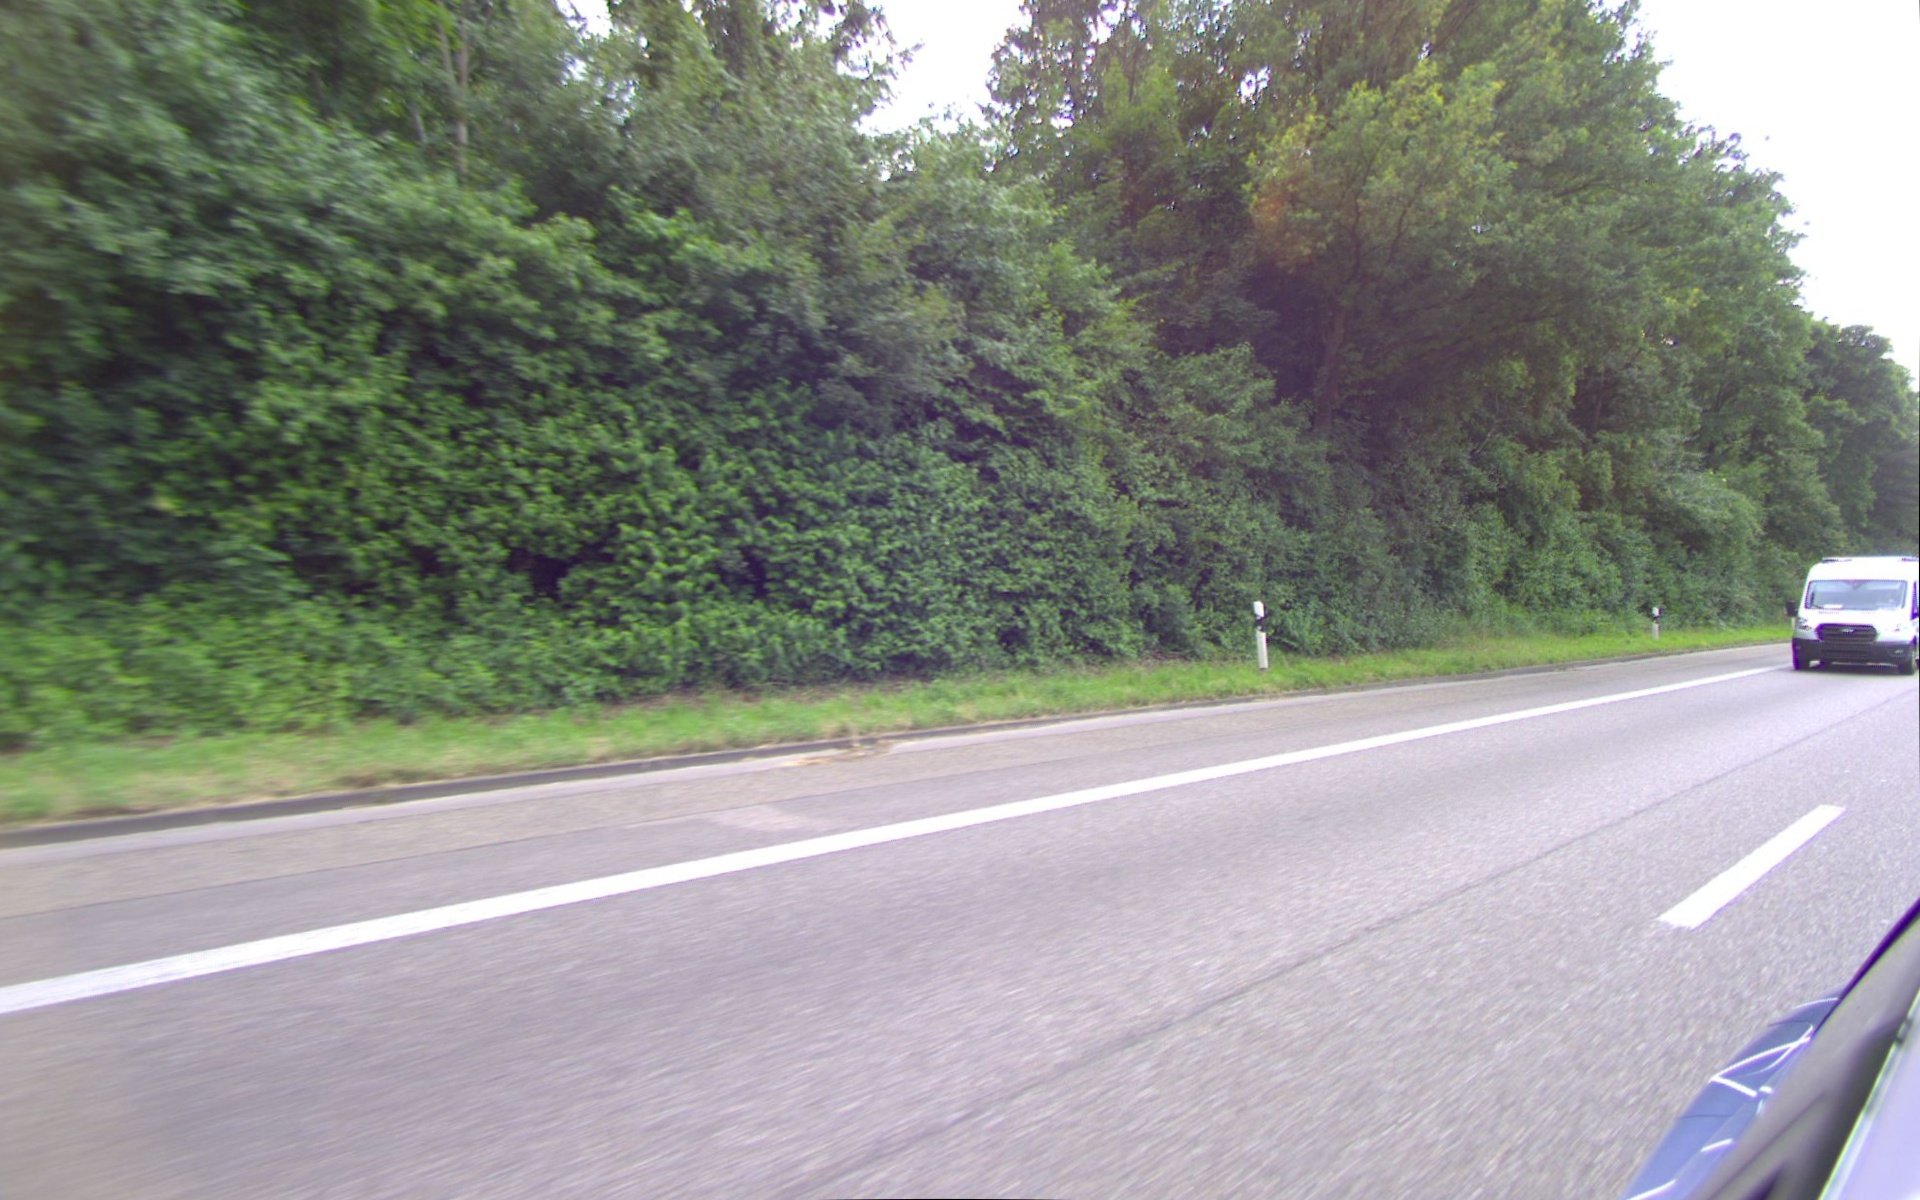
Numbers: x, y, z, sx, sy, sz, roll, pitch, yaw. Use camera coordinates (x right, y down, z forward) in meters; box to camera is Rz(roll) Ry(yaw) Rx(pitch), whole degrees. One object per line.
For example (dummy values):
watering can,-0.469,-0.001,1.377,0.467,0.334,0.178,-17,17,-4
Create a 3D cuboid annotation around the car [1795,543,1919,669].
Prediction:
car,20.663,0.108,22.753,5.186,2.539,2.102,0,0,-41
